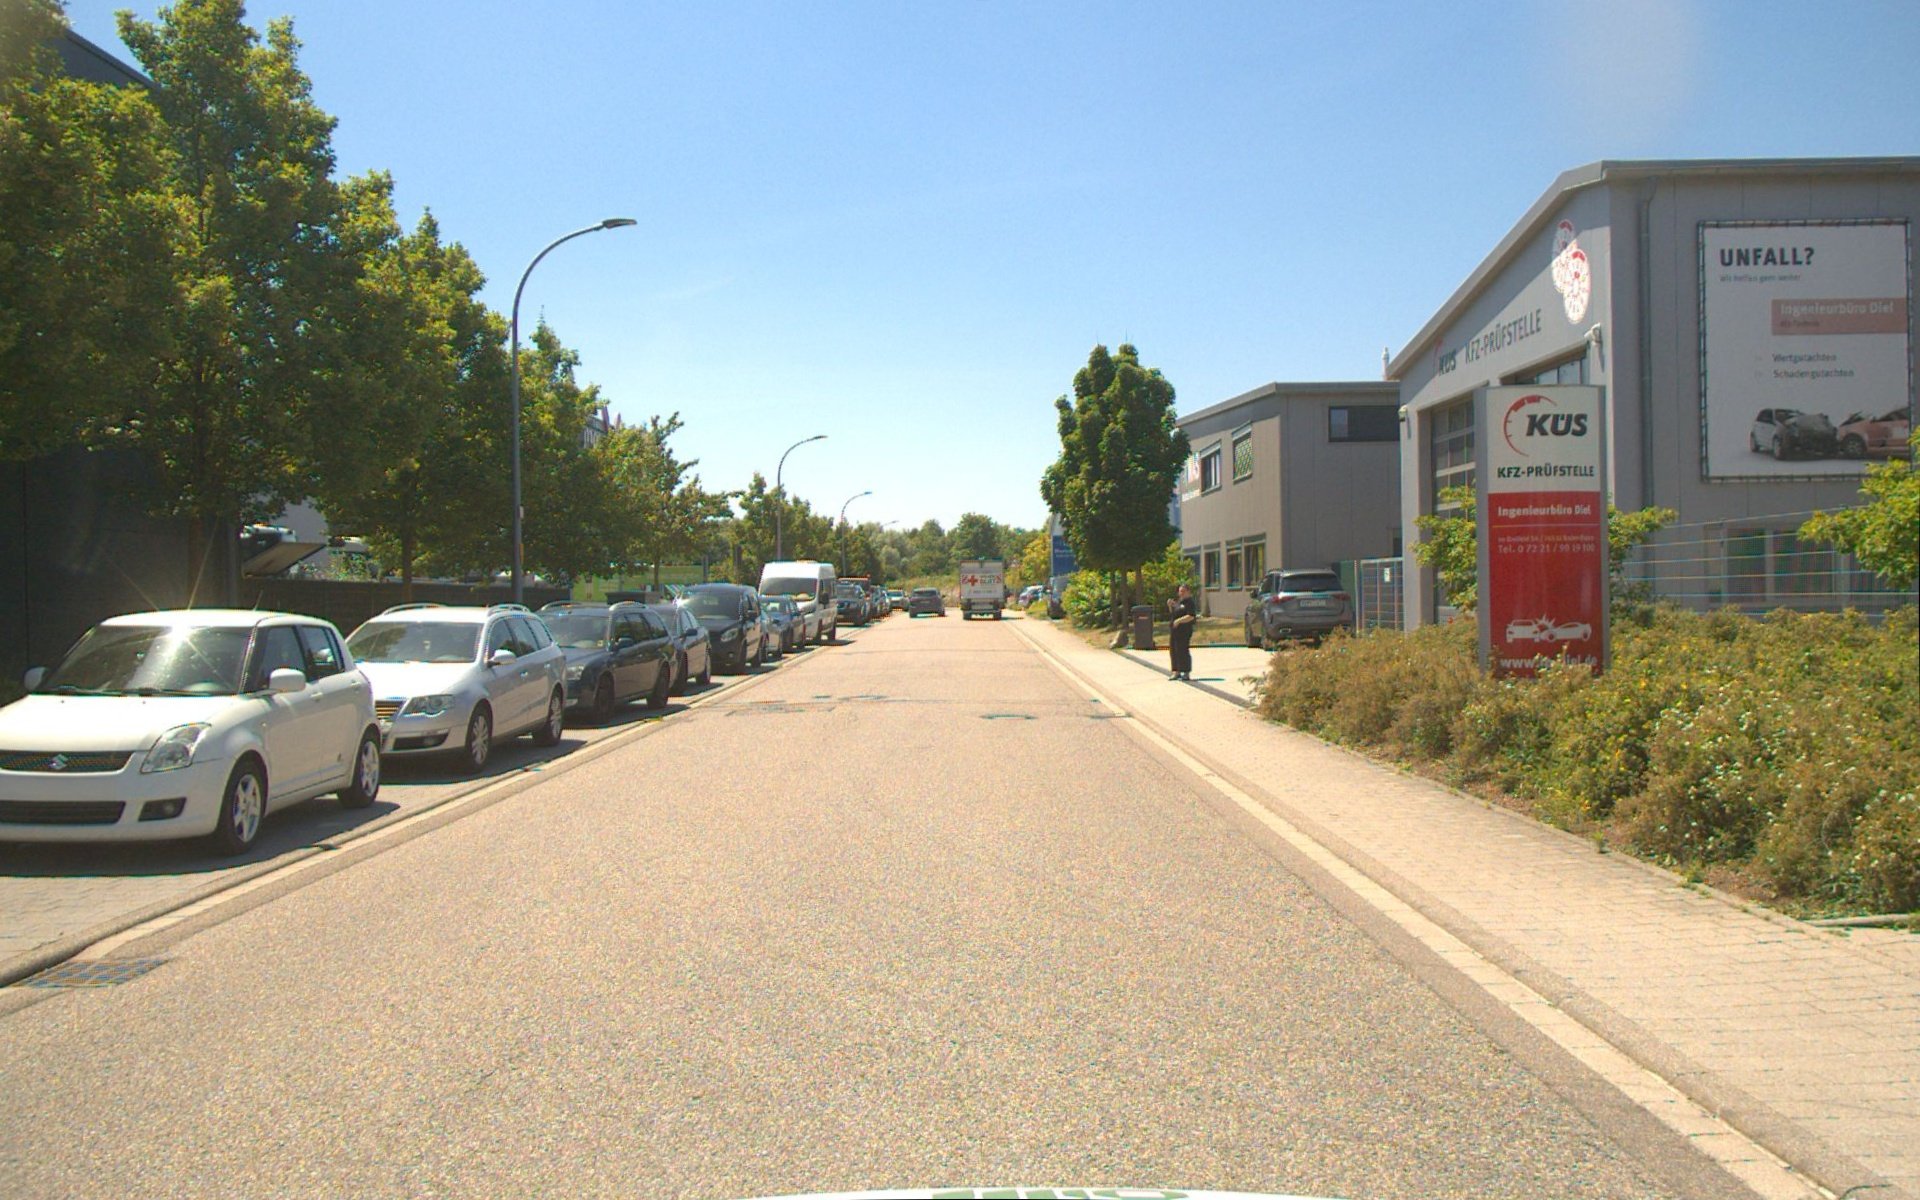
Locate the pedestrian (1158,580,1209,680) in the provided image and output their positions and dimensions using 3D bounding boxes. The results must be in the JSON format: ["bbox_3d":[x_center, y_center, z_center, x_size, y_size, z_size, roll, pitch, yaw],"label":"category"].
[{"bbox_3d":[3.805,0.515,28.130,0.492,1.641,0.711,-5,0,-17],"label":"pedestrian"}]

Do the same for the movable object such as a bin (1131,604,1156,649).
[{"bbox_3d":[4.496,0.645,40.599,0.520,1.071,0.845,-1,0,2],"label":"movable object such as a bin"}]

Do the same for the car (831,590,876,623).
[{"bbox_3d":[-5.116,0.291,79.924,1.762,1.513,4.253,0,1,2],"label":"car"}]

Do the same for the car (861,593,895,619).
[{"bbox_3d":[-4.977,0.355,101.106,1.762,1.513,4.253,0,1,2],"label":"car"}]

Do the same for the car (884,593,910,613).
[{"bbox_3d":[-4.972,0.242,130.068,1.762,1.513,4.253,0,1,2],"label":"car"}]

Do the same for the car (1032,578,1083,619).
[{"bbox_3d":[4.537,-0.079,77.371,1.953,1.835,4.138,-1,0,-2],"label":"car"}]

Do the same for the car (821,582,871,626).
[{"bbox_3d":[-4.941,0.151,72.309,1.762,1.881,4.253,0,1,2],"label":"car"}]

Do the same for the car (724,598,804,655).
[{"bbox_3d":[-5.356,0.695,45.615,1.762,1.475,4.251,0,0,-1],"label":"car"}]

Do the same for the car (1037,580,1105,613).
[{"bbox_3d":[6.479,-0.203,96.786,3.798,1.780,1.751,1,0,-3],"label":"car"}]

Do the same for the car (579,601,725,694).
[{"bbox_3d":[-5.327,0.766,29.158,1.762,1.502,4.587,0,0,-1],"label":"car"}]

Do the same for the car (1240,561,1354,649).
[{"bbox_3d":[7.647,0.138,37.945,1.748,1.814,4.906,-2,-1,2],"label":"car"}]

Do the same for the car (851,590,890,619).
[{"bbox_3d":[-4.858,0.205,90.081,1.762,1.513,4.253,0,1,2],"label":"car"}]

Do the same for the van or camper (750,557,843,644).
[{"bbox_3d":[-5.094,0.019,52.348,2.035,2.526,6.132,1,0,2],"label":"van or camper"}]

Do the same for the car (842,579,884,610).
[{"bbox_3d":[-4.965,-0.298,85.250,1.762,1.513,4.253,0,1,2],"label":"car"}]

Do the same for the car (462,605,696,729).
[{"bbox_3d":[-5.067,0.829,22.675,1.761,1.502,4.640,0,0,5],"label":"car"}]

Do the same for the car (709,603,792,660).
[{"bbox_3d":[-5.128,0.740,40.829,1.447,1.320,3.900,0,0,2],"label":"car"}]

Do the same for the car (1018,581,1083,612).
[{"bbox_3d":[5.551,-0.222,101.765,3.798,1.780,1.751,1,0,-3],"label":"car"}]

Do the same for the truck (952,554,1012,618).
[{"bbox_3d":[1.098,-0.684,83.715,2.873,3.026,6.419,1,0,0],"label":"truck"}]

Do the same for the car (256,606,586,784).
[{"bbox_3d":[-5.150,0.828,16.493,1.762,1.502,4.555,0,0,0],"label":"car"}]

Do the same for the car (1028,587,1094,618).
[{"bbox_3d":[6.022,0.158,98.936,3.798,1.780,1.751,1,0,-3],"label":"car"}]

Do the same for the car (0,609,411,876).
[{"bbox_3d":[-5.202,0.825,11.398,1.686,1.502,3.855,0,0,-2],"label":"car"}]

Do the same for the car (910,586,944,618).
[{"bbox_3d":[-1.782,0.122,90.492,1.753,1.652,3.808,1,0,0],"label":"car"}]

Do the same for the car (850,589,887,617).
[{"bbox_3d":[-5.226,0.149,95.143,1.762,1.513,4.253,0,1,2],"label":"car"}]

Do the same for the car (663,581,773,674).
[{"bbox_3d":[-5.076,0.538,35.146,1.762,1.846,4.251,0,0,-1],"label":"car"}]
